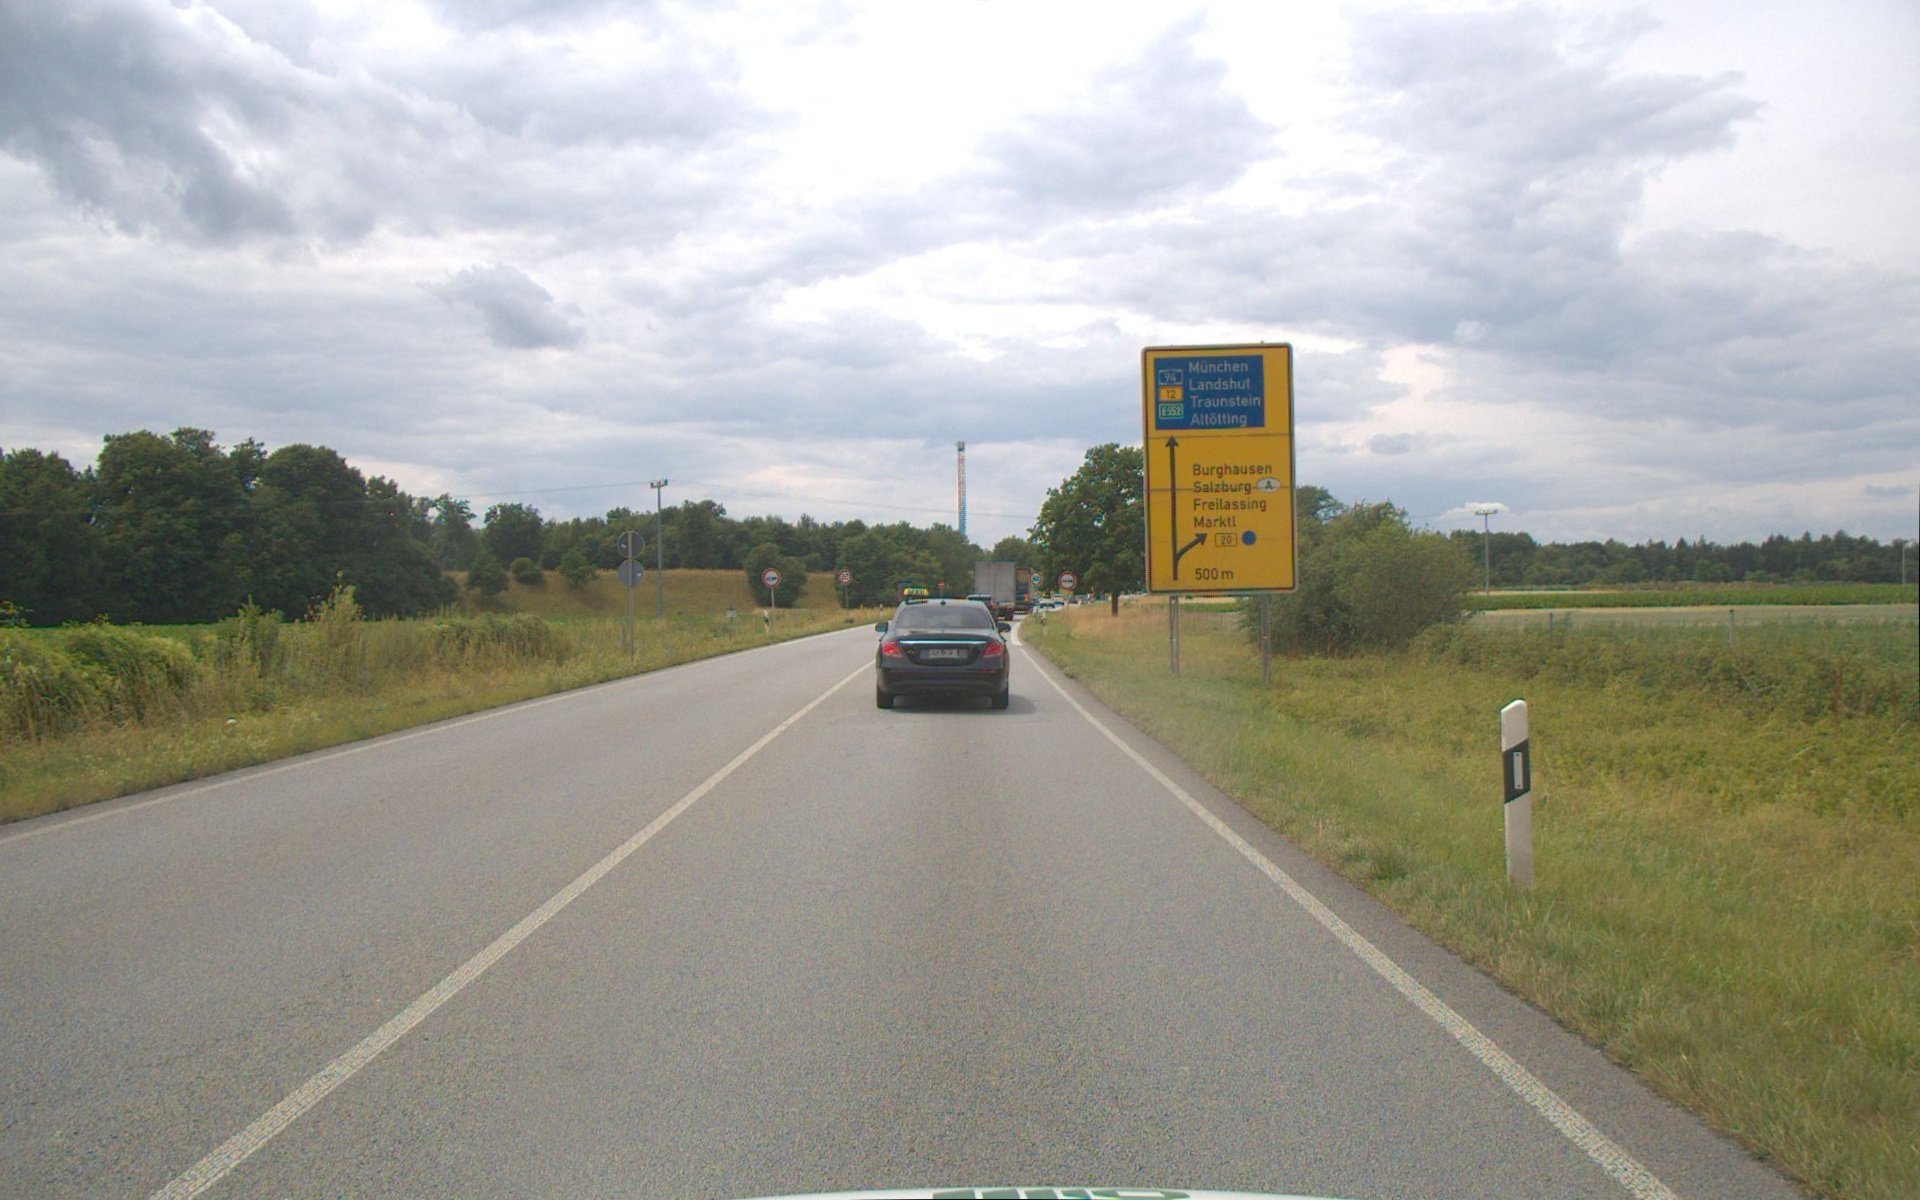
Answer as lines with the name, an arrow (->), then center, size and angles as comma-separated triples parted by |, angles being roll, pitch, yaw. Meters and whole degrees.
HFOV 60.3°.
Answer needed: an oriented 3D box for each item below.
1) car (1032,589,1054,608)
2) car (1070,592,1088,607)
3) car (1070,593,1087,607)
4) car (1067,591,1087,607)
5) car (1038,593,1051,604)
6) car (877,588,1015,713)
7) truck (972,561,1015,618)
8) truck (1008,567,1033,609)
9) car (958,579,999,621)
car -> 7.811, -0.152, 155.432 | 1.759, 1.691, 3.999 | 1, 0, -1
car -> 13.613, -0.035, 189.503 | 1.759, 1.691, 3.999 | 1, 0, -1
car -> 14.580, 0.024, 203.614 | 1.759, 1.691, 3.999 | 1, 0, -1
car -> 12.319, -0.096, 174.692 | 1.759, 1.691, 3.999 | 1, 0, -1
car -> 11.031, -0.174, 215.902 | 1.614, 1.420, 3.707 | 1, 0, 4
car -> -0.209, 0.659, 23.351 | 1.759, 1.587, 3.999 | 1, 0, -1
truck -> 2.140, -0.664, 108.125 | 2.534, 3.586, 4.811 | 1, 0, -1
truck -> 5.378, -1.043, 147.878 | 1.953, 3.587, 4.591 | 1, 0, -1
car -> 0.901, 0.005, 83.454 | 1.953, 2.049, 3.999 | 1, 0, -1
